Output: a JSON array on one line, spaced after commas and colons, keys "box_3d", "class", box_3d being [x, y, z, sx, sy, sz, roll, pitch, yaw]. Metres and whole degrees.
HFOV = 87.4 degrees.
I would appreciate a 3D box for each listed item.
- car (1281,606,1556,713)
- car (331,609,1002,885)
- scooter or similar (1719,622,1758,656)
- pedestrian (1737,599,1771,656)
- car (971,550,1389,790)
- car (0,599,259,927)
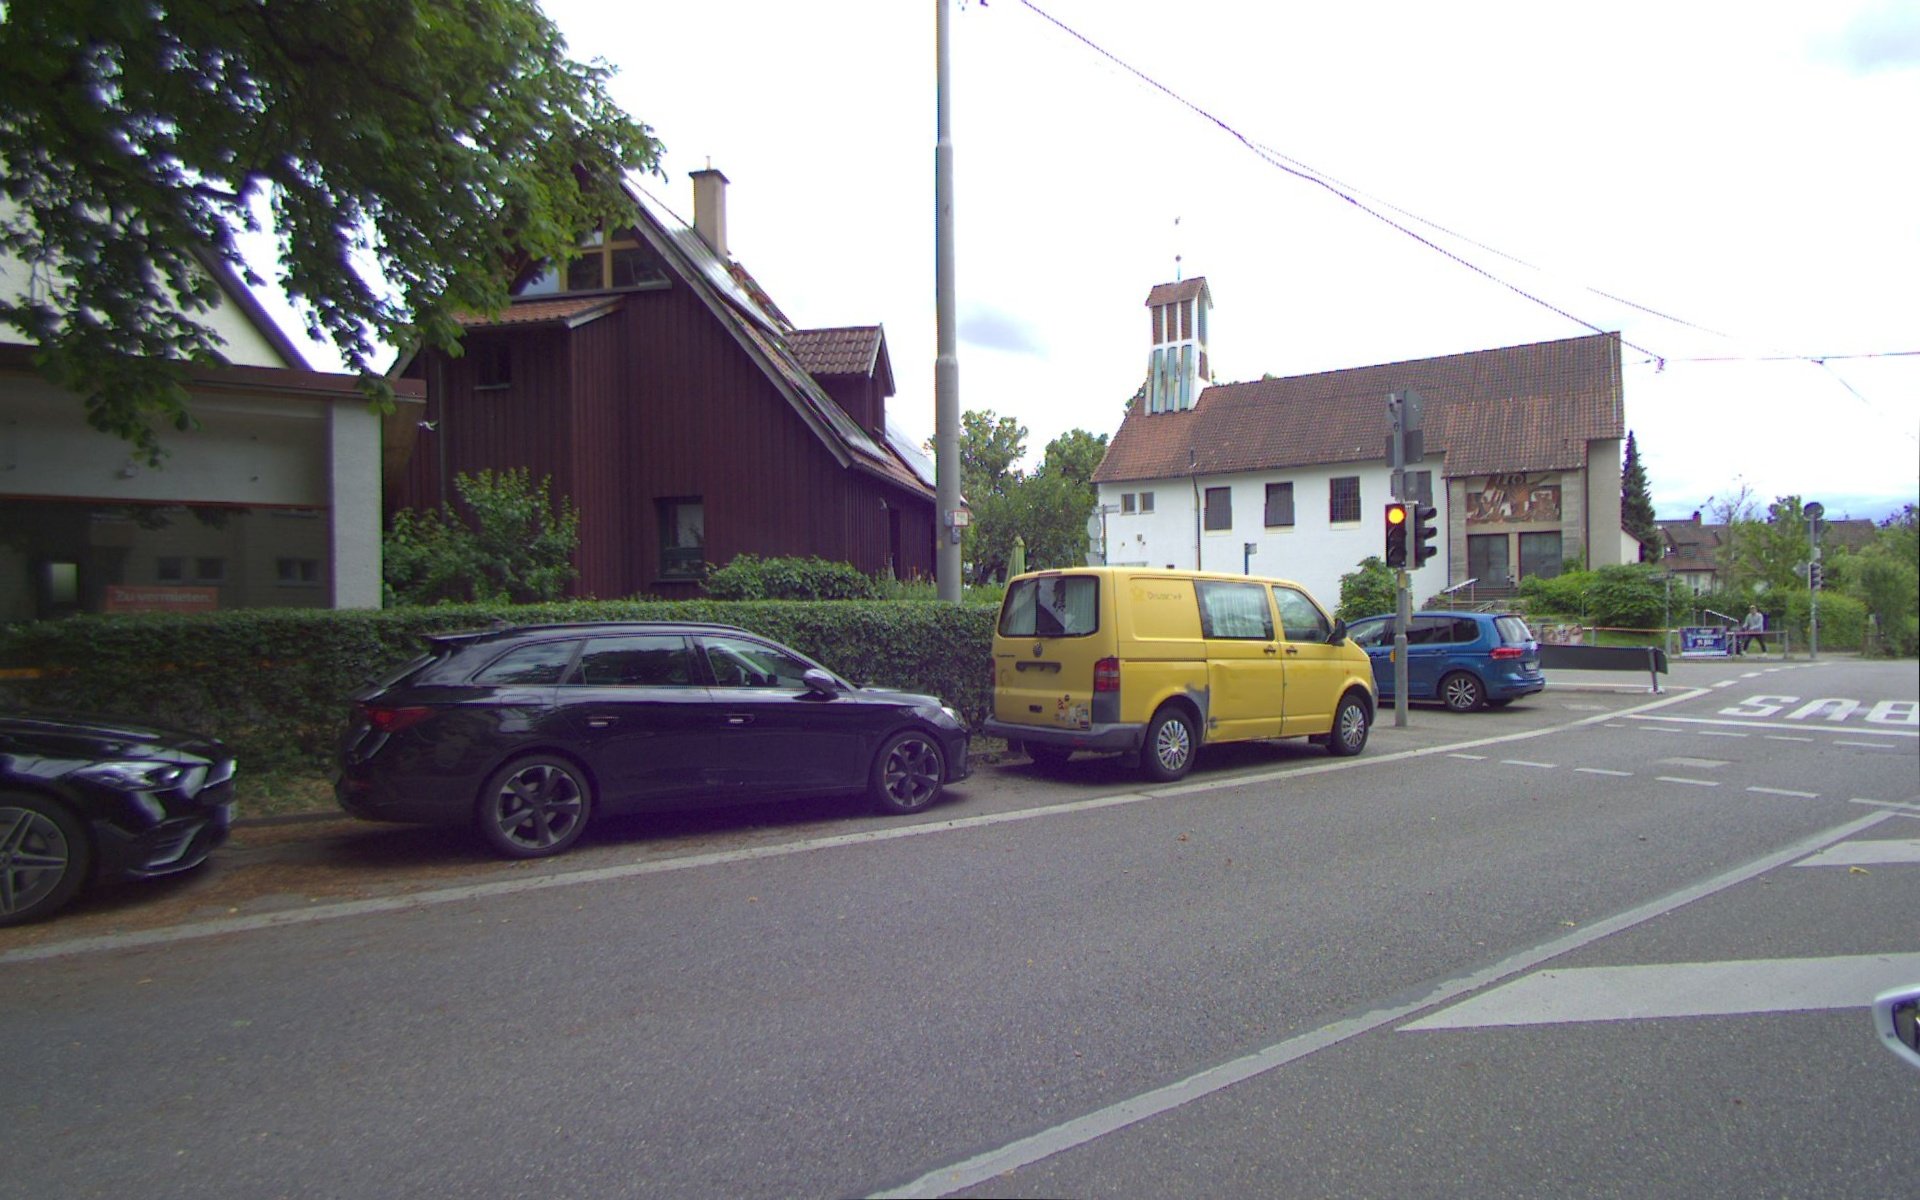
[{"box_3d": [7.816, 0.990, 17.367, 1.806, 1.632, 3.948, 1, -3, -44], "class": "car"}, {"box_3d": [-1.993, 0.846, 7.441, 4.494, 1.505, 1.681, 1, -2, -34], "class": "car"}, {"box_3d": [25.658, 1.283, 33.091, 1.096, 1.095, 0.574, 1, -1, -25], "class": "scooter or similar"}, {"box_3d": [26.511, 0.910, 33.529, 0.875, 1.887, 0.570, 0, -1, -27], "class": "pedestrian"}, {"box_3d": [2.464, 0.647, 10.685, 4.523, 2.040, 1.870, 1, -2, -37], "class": "car"}, {"box_3d": [-6.210, 0.763, 4.756, 4.561, 1.520, 1.984, 1, -2, -31], "class": "car"}]
